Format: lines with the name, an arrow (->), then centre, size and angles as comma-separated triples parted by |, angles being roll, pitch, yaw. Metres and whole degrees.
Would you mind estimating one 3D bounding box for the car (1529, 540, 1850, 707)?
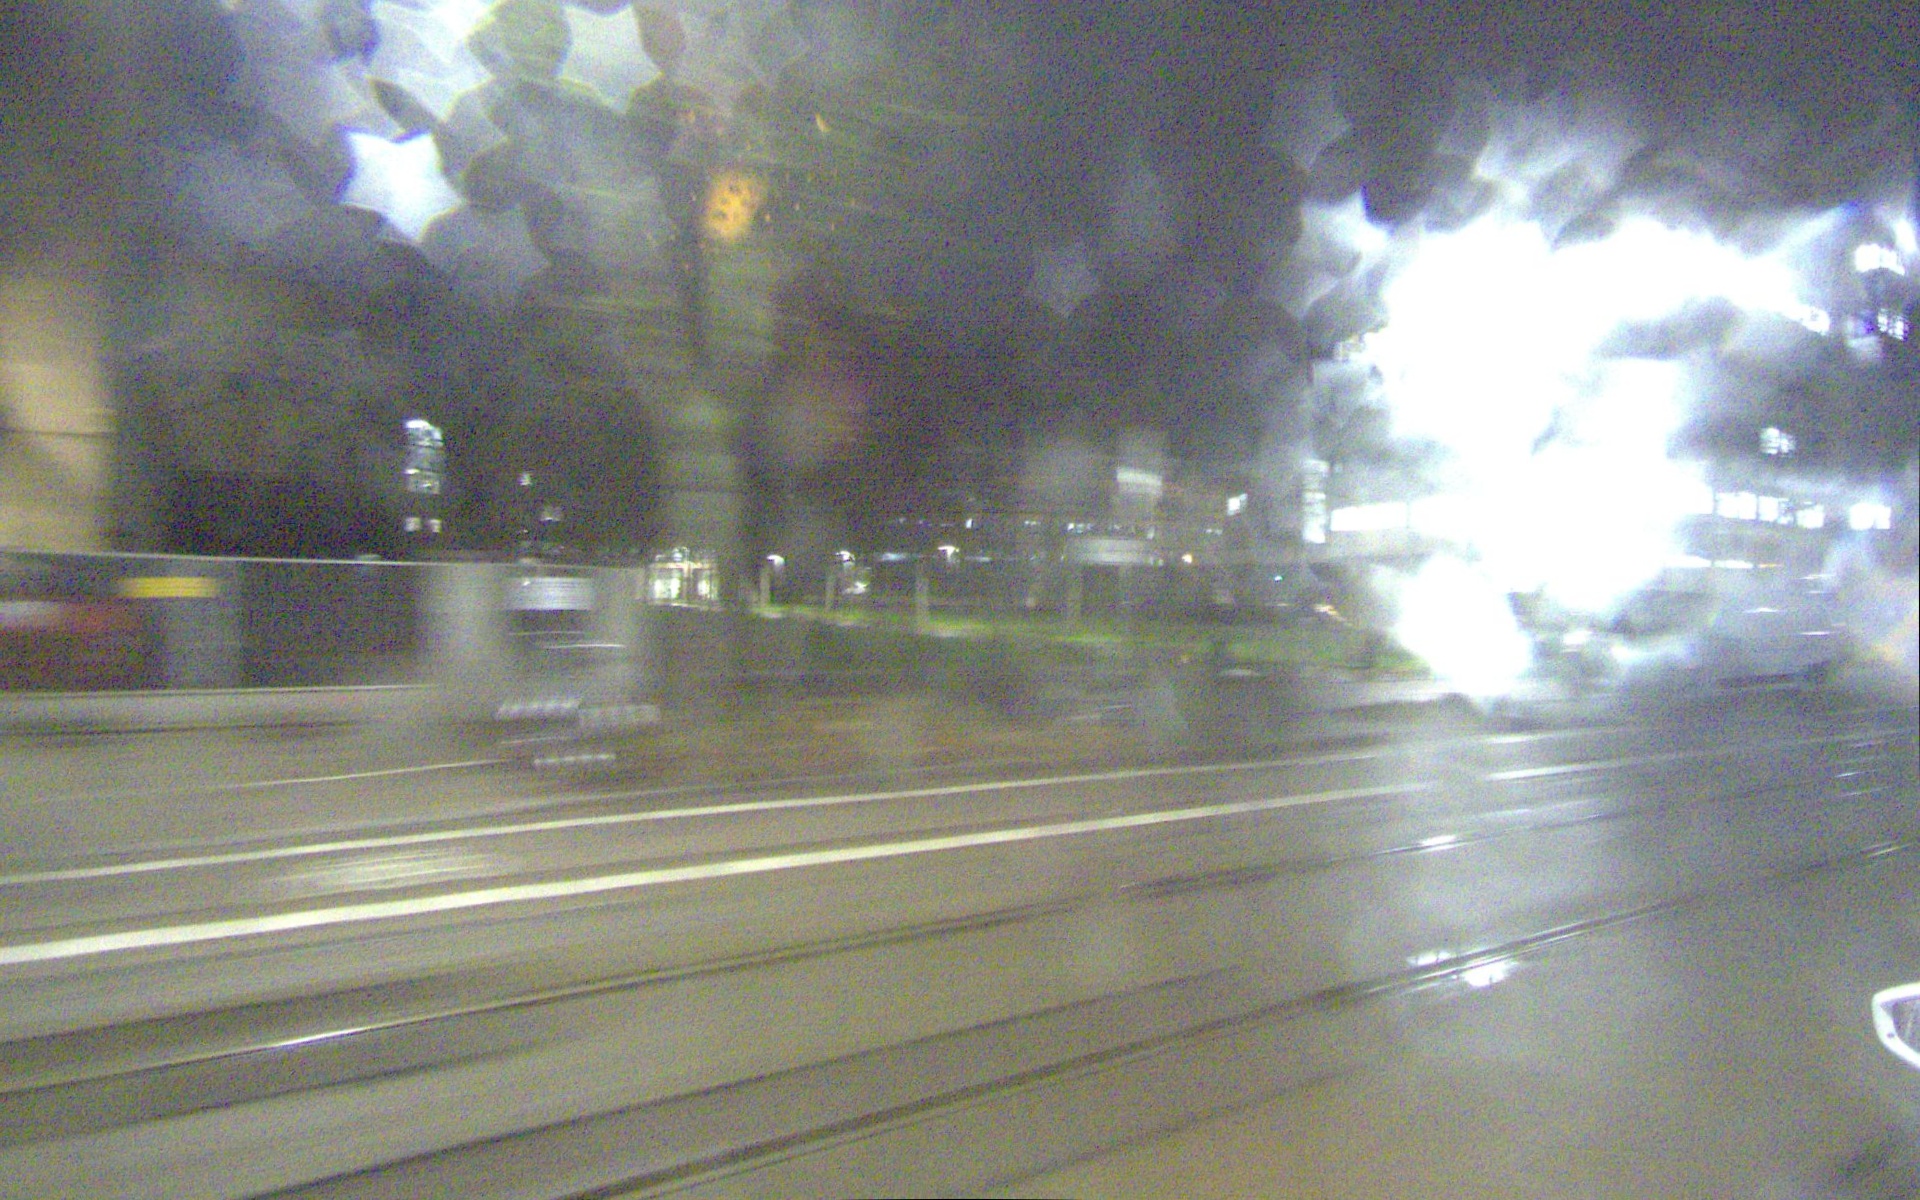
car -> 13.360, 0.393, 18.290 | 6.311, 2.626, 2.176 | 1, 1, -28
